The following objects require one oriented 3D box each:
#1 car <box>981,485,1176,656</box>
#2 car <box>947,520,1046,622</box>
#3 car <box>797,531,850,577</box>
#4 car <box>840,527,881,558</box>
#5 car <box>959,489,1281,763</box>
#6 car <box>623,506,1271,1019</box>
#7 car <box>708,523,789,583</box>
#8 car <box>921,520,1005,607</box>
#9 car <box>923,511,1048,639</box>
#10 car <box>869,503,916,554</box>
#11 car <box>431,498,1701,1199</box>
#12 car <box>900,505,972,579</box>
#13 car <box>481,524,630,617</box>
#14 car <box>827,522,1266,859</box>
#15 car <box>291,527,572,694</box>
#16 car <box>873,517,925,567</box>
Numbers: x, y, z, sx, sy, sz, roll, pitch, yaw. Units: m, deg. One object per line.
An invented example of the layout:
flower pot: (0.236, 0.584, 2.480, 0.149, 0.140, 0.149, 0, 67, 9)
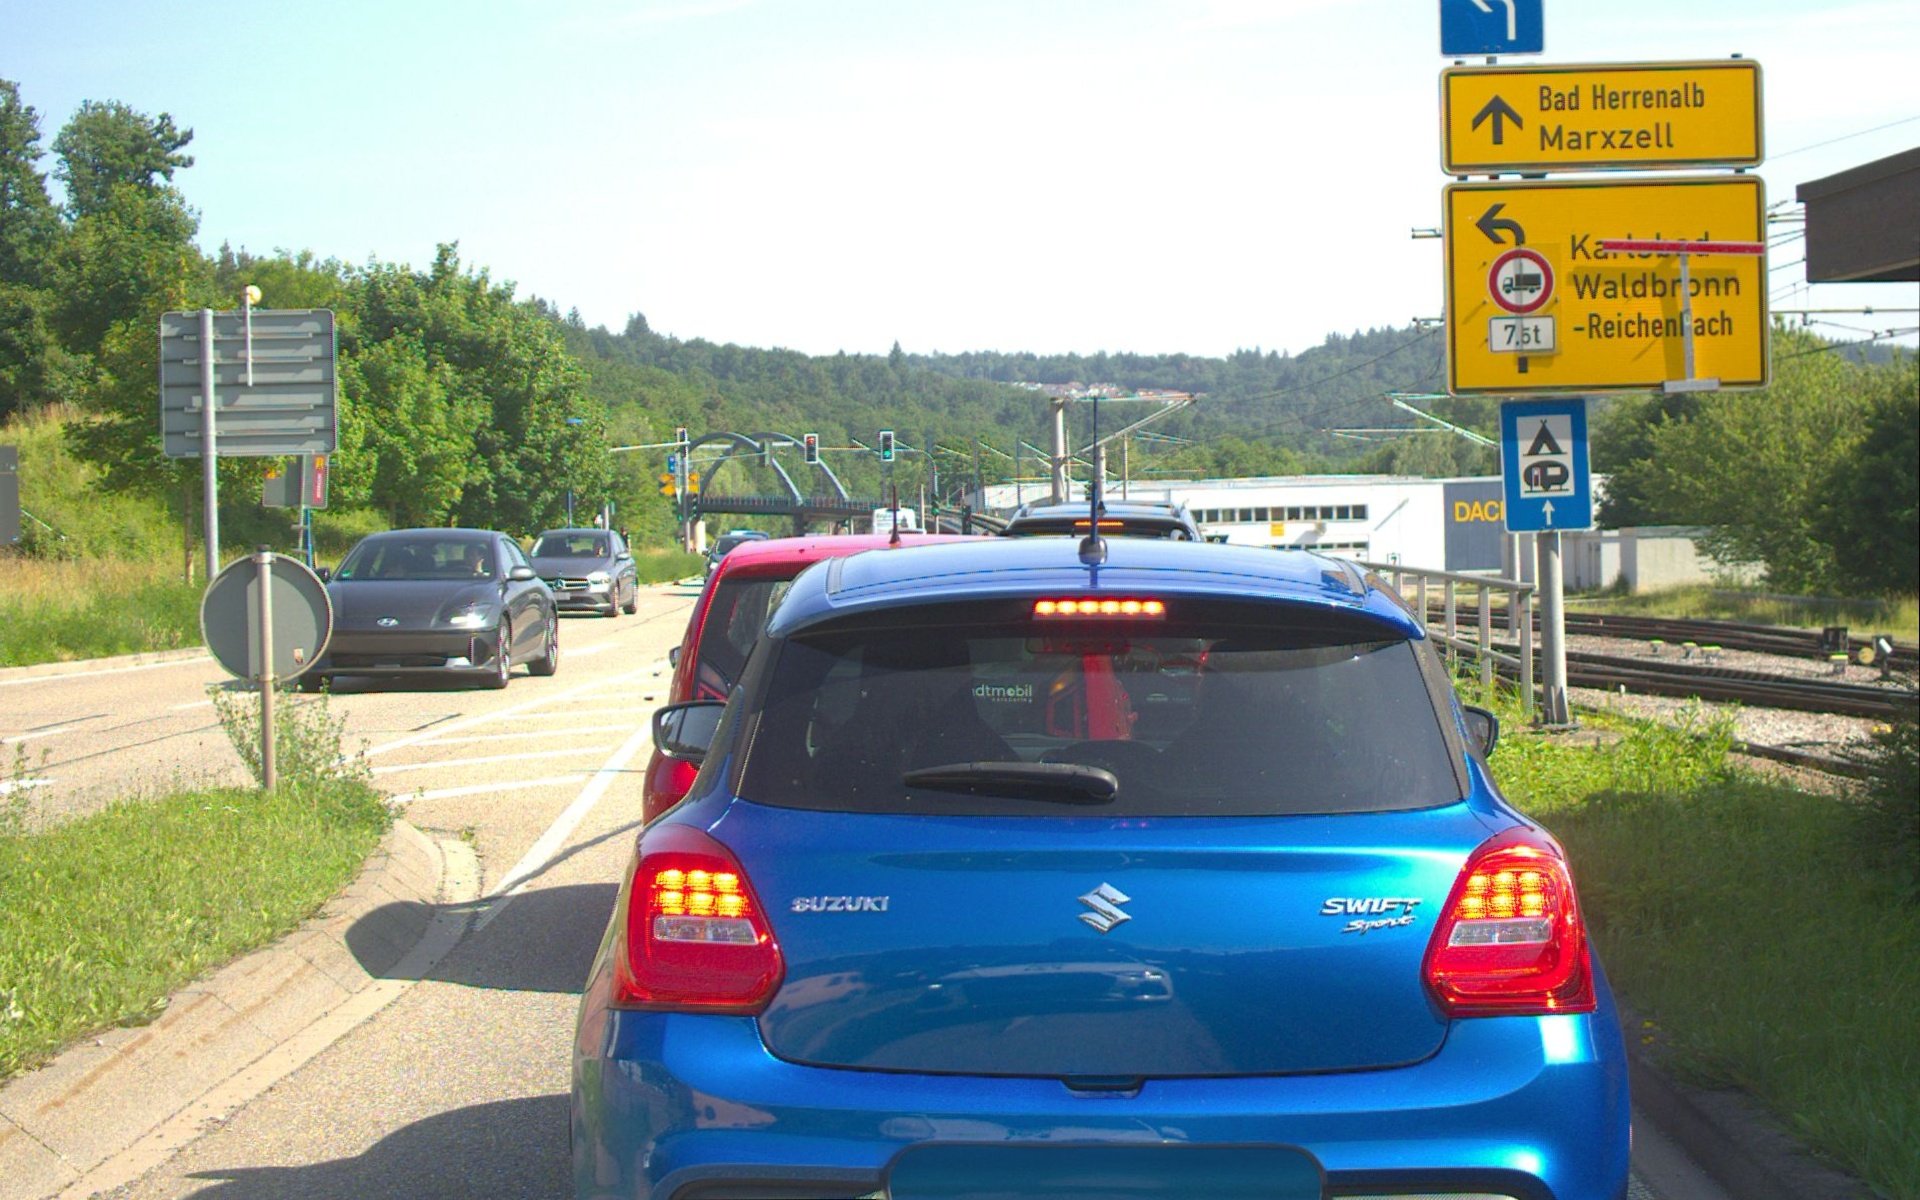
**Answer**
car: (1.272, -0.357, 38.014, 1.993, 1.730, 4.000, 2, 1, 1)
car: (0.768, -0.658, 74.254, 1.993, 2.006, 4.001, 2, 2, -1)
car: (-5.550, -1.879, 140.107, 1.993, 1.777, 4.000, 1, 1, -1)
car: (-5.117, -2.978, 177.156, 1.993, 1.549, 4.215, 1, 1, -1)
car: (1.054, 0.112, 24.098, 1.993, 1.681, 4.497, 2, 1, 1)
car: (-0.009, 0.475, 12.749, 1.993, 1.566, 4.000, 1, 1, 1)
car: (-5.185, -1.165, 84.615, 1.672, 1.436, 3.840, 1, 1, 1)
car: (0.049, -0.931, 85.393, 1.993, 2.006, 4.001, 2, 2, -1)
car: (0.398, -0.461, 58.706, 1.993, 2.006, 4.001, 2, 2, -1)
car: (-2.975, -3.153, 151.944, 1.993, 2.137, 4.720, 1, 1, -1)
car: (0.111, 0.583, 7.080, 1.868, 1.543, 4.000, 0, 1, -1)
car: (-0.701, -1.702, 99.497, 1.993, 2.006, 4.001, 2, 2, -1)
car: (-7.099, -0.549, 60.781, 1.993, 1.558, 4.509, 0, 1, 1)
car: (0.433, 0.363, 18.017, 1.993, 1.526, 4.602, 0, 1, 1)
car: (-4.960, 0.043, 32.884, 1.791, 1.465, 4.716, 0, 1, 2)
car: (-2.402, -2.318, 136.600, 1.993, 1.810, 4.001, 2, 2, -1)
